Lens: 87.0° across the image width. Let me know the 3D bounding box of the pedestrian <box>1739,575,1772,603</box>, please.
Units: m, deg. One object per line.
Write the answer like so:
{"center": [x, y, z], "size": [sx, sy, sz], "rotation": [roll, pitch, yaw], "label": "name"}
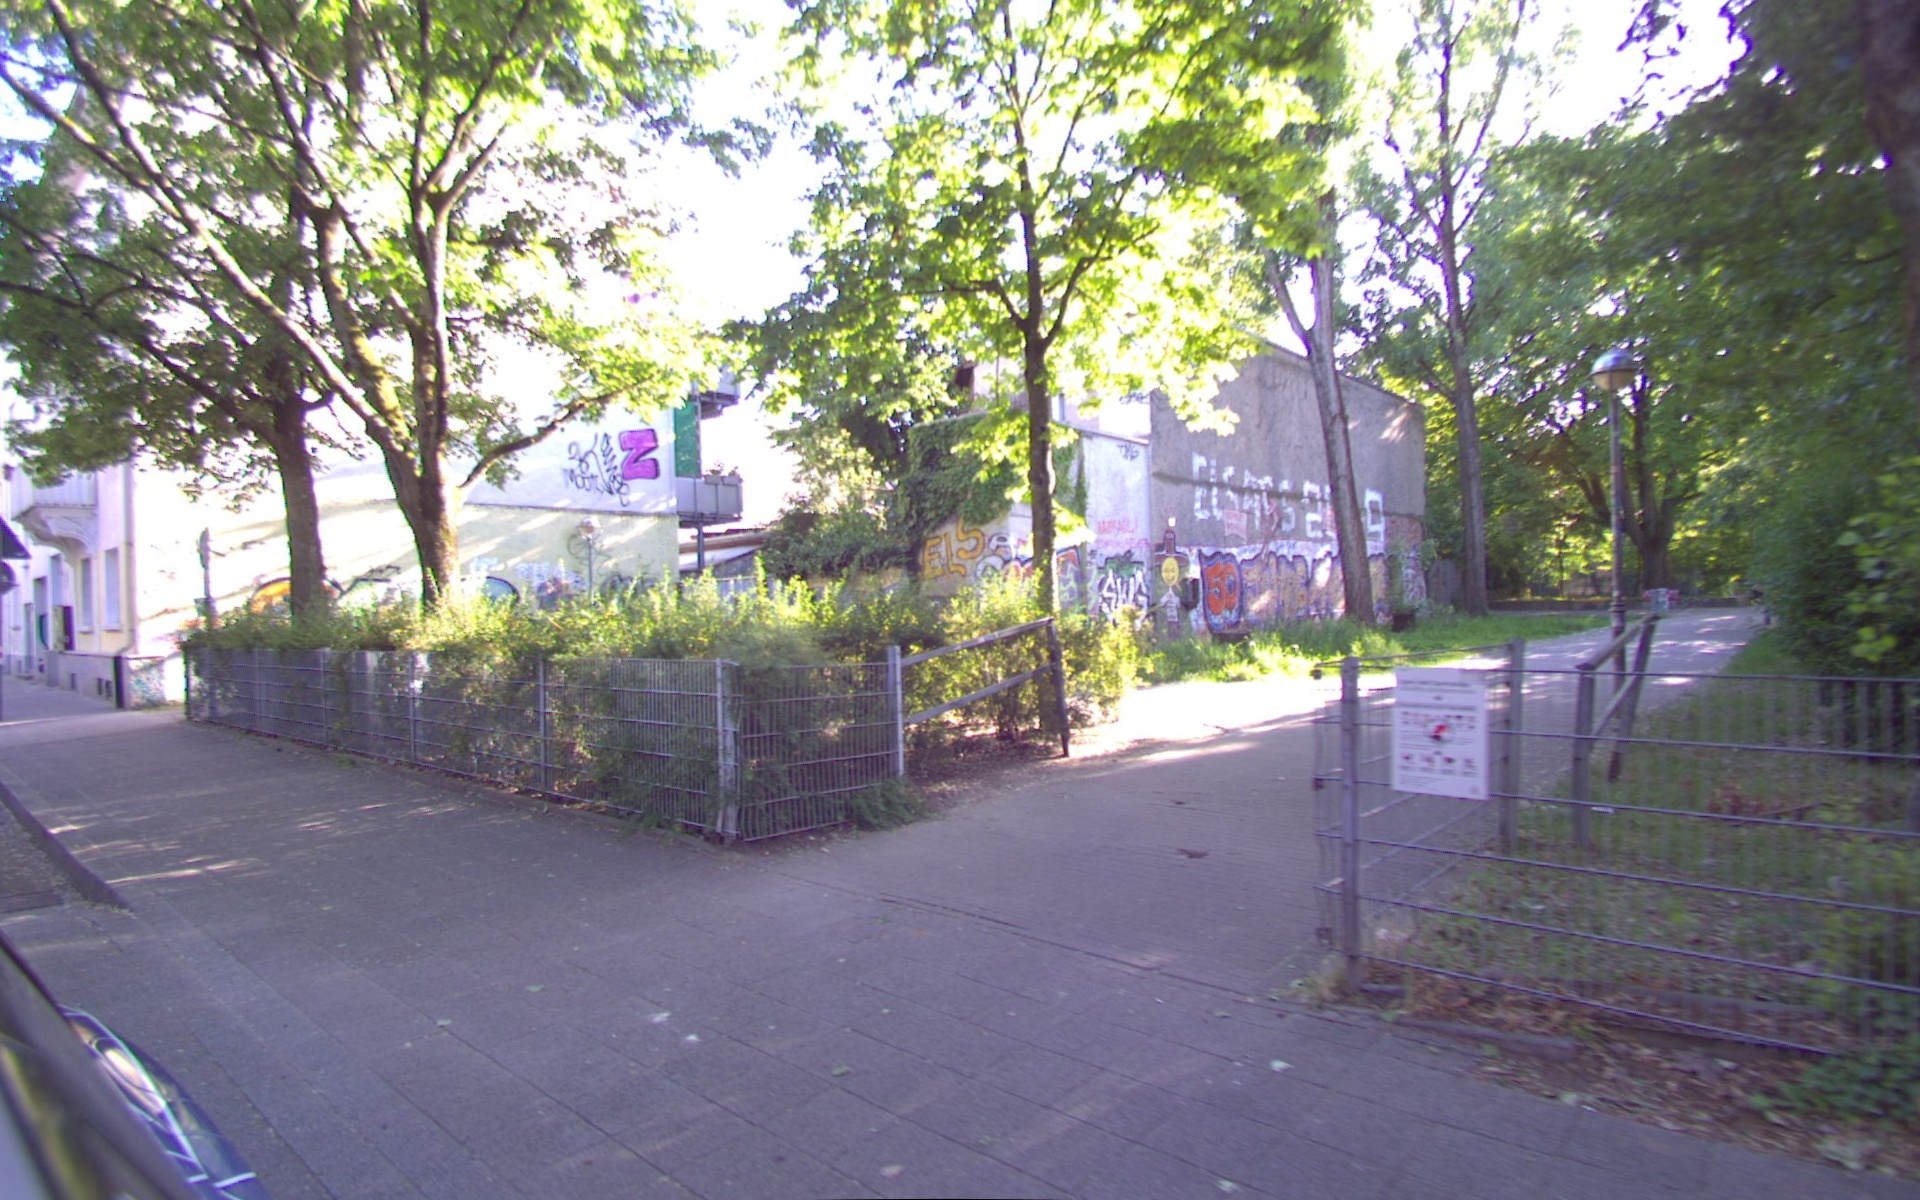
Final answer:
{"center": [32.081, -0.434, 40.819], "size": [0.762, 1.099, 0.761], "rotation": [-2, 0, 16], "label": "pedestrian"}
